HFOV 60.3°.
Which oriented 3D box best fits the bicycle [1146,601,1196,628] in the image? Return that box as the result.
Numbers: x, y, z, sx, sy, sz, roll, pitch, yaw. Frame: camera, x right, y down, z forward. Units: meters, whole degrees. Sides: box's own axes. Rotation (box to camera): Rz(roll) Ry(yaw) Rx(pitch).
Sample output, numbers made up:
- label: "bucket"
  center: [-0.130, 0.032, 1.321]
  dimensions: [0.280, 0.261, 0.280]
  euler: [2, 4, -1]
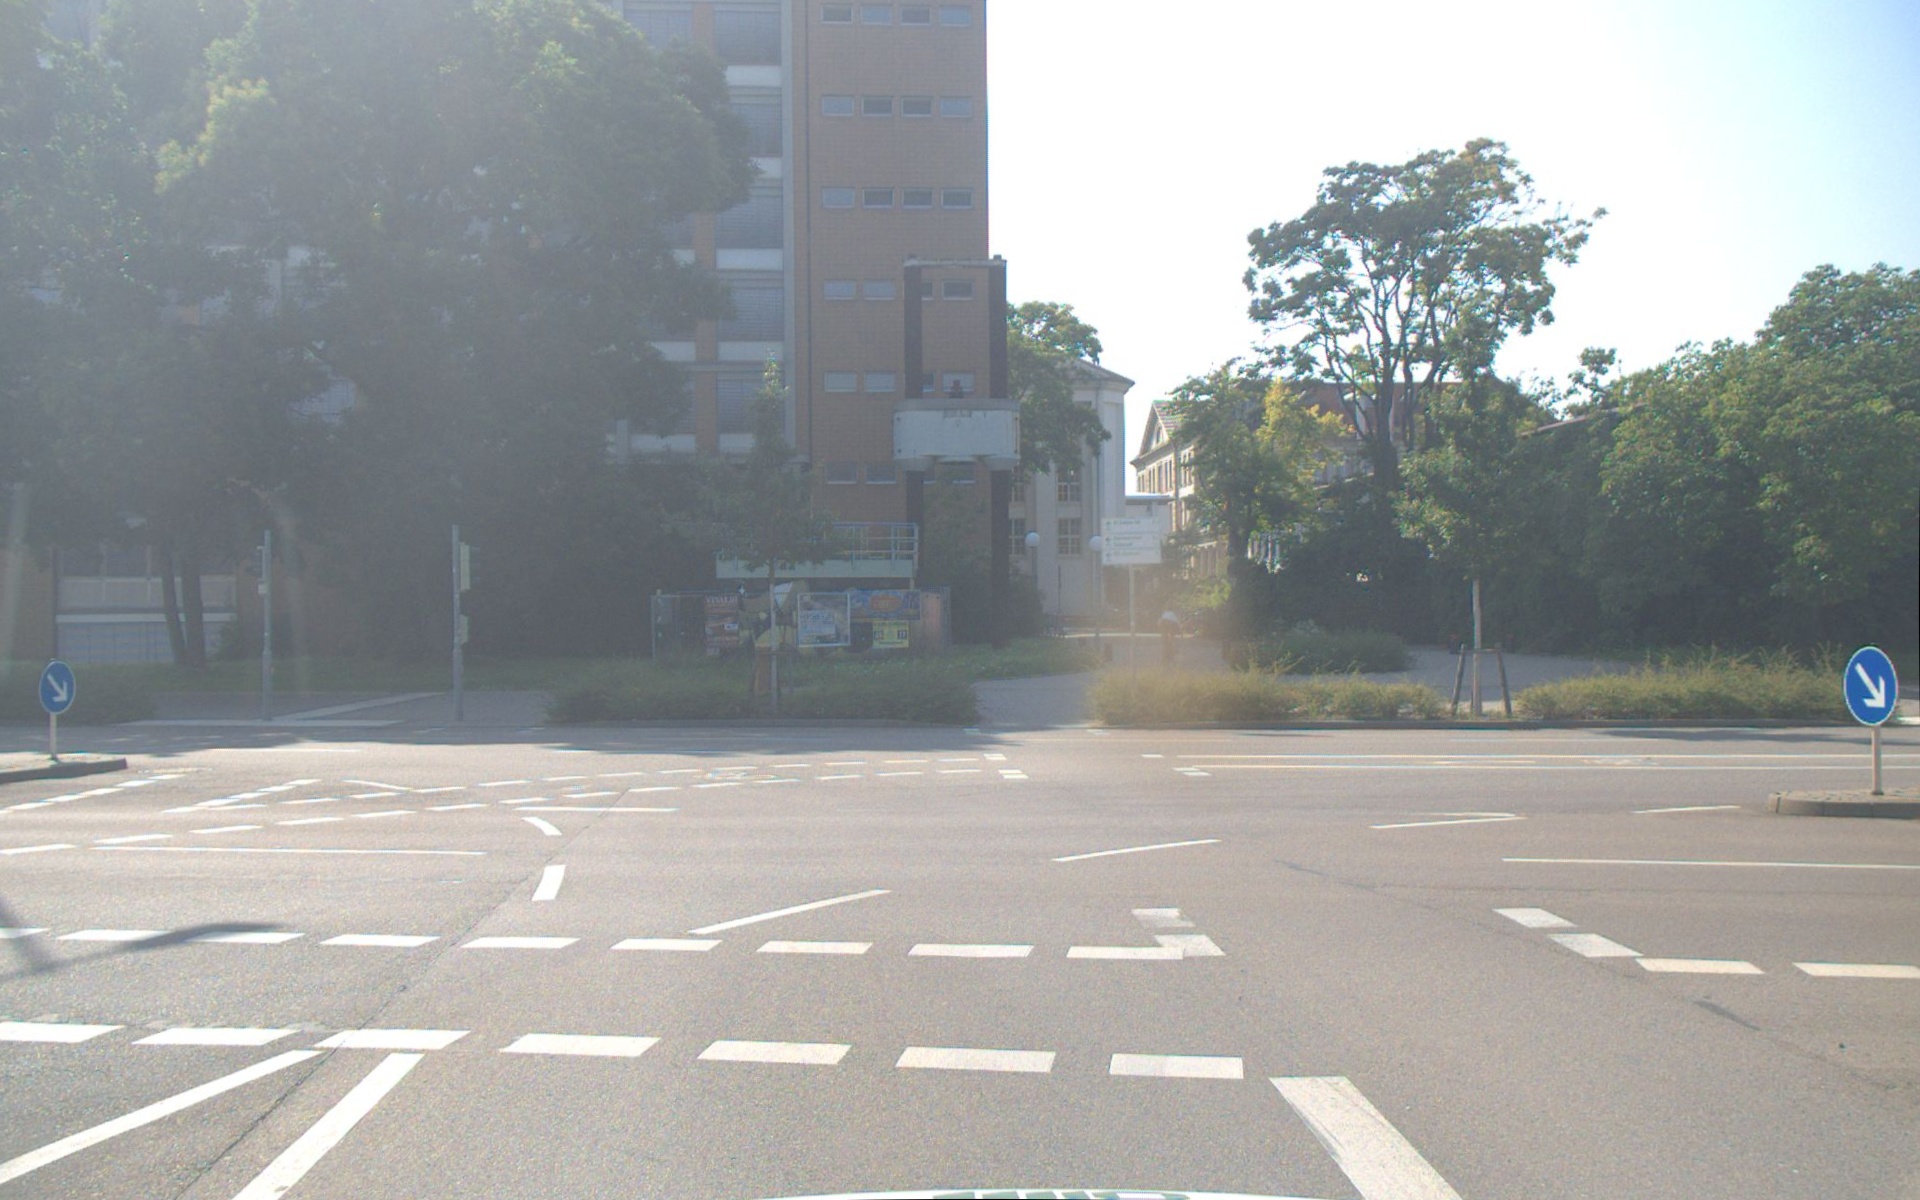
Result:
- label: "bicycle"
  center: [10.330, 0.707, 80.976]
  dimensions: [2.376, 1.261, 0.720]
  euler: [1, 0, 2]

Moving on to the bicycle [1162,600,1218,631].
- label: "bicycle"
  center: [10.161, 0.681, 73.230]
  dimensions: [2.376, 1.341, 0.720]
  euler: [1, 0, 2]

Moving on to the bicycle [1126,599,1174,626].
- label: "bicycle"
  center: [9.744, 0.631, 84.741]
  dimensions: [2.376, 1.304, 0.720]
  euler: [1, 0, 2]

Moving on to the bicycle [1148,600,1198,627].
- label: "bicycle"
  center: [10.569, 0.670, 82.021]
  dimensions: [2.376, 1.250, 0.720]
  euler: [1, 0, 2]

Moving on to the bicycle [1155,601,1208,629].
- label: "bicycle"
  center: [10.285, 0.703, 76.908]
  dimensions: [2.376, 1.245, 0.720]
  euler: [1, 0, 2]

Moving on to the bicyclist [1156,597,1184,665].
- label: "bicyclist"
  center: [5.127, 0.746, 40.433]
  dimensions: [0.636, 1.629, 0.920]
  euler: [-1, 0, 5]

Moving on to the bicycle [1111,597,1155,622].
- label: "bicycle"
  center: [9.697, 0.531, 92.613]
  dimensions: [2.376, 1.303, 0.720]
  euler: [1, 0, 2]

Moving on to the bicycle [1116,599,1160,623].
- label: "bicycle"
  center: [9.835, 0.612, 91.594]
  dimensions: [2.376, 1.284, 0.720]
  euler: [1, 0, 2]

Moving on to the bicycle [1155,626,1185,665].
- label: "bicycle"
  center: [5.121, 1.109, 40.330]
  dimensions: [0.659, 0.895, 1.402]
  euler: [-1, 0, 5]

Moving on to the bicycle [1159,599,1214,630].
- label: "bicycle"
  center: [10.182, 0.670, 74.366]
  dimensions: [2.376, 1.341, 0.720]
  euler: [1, 0, 2]
